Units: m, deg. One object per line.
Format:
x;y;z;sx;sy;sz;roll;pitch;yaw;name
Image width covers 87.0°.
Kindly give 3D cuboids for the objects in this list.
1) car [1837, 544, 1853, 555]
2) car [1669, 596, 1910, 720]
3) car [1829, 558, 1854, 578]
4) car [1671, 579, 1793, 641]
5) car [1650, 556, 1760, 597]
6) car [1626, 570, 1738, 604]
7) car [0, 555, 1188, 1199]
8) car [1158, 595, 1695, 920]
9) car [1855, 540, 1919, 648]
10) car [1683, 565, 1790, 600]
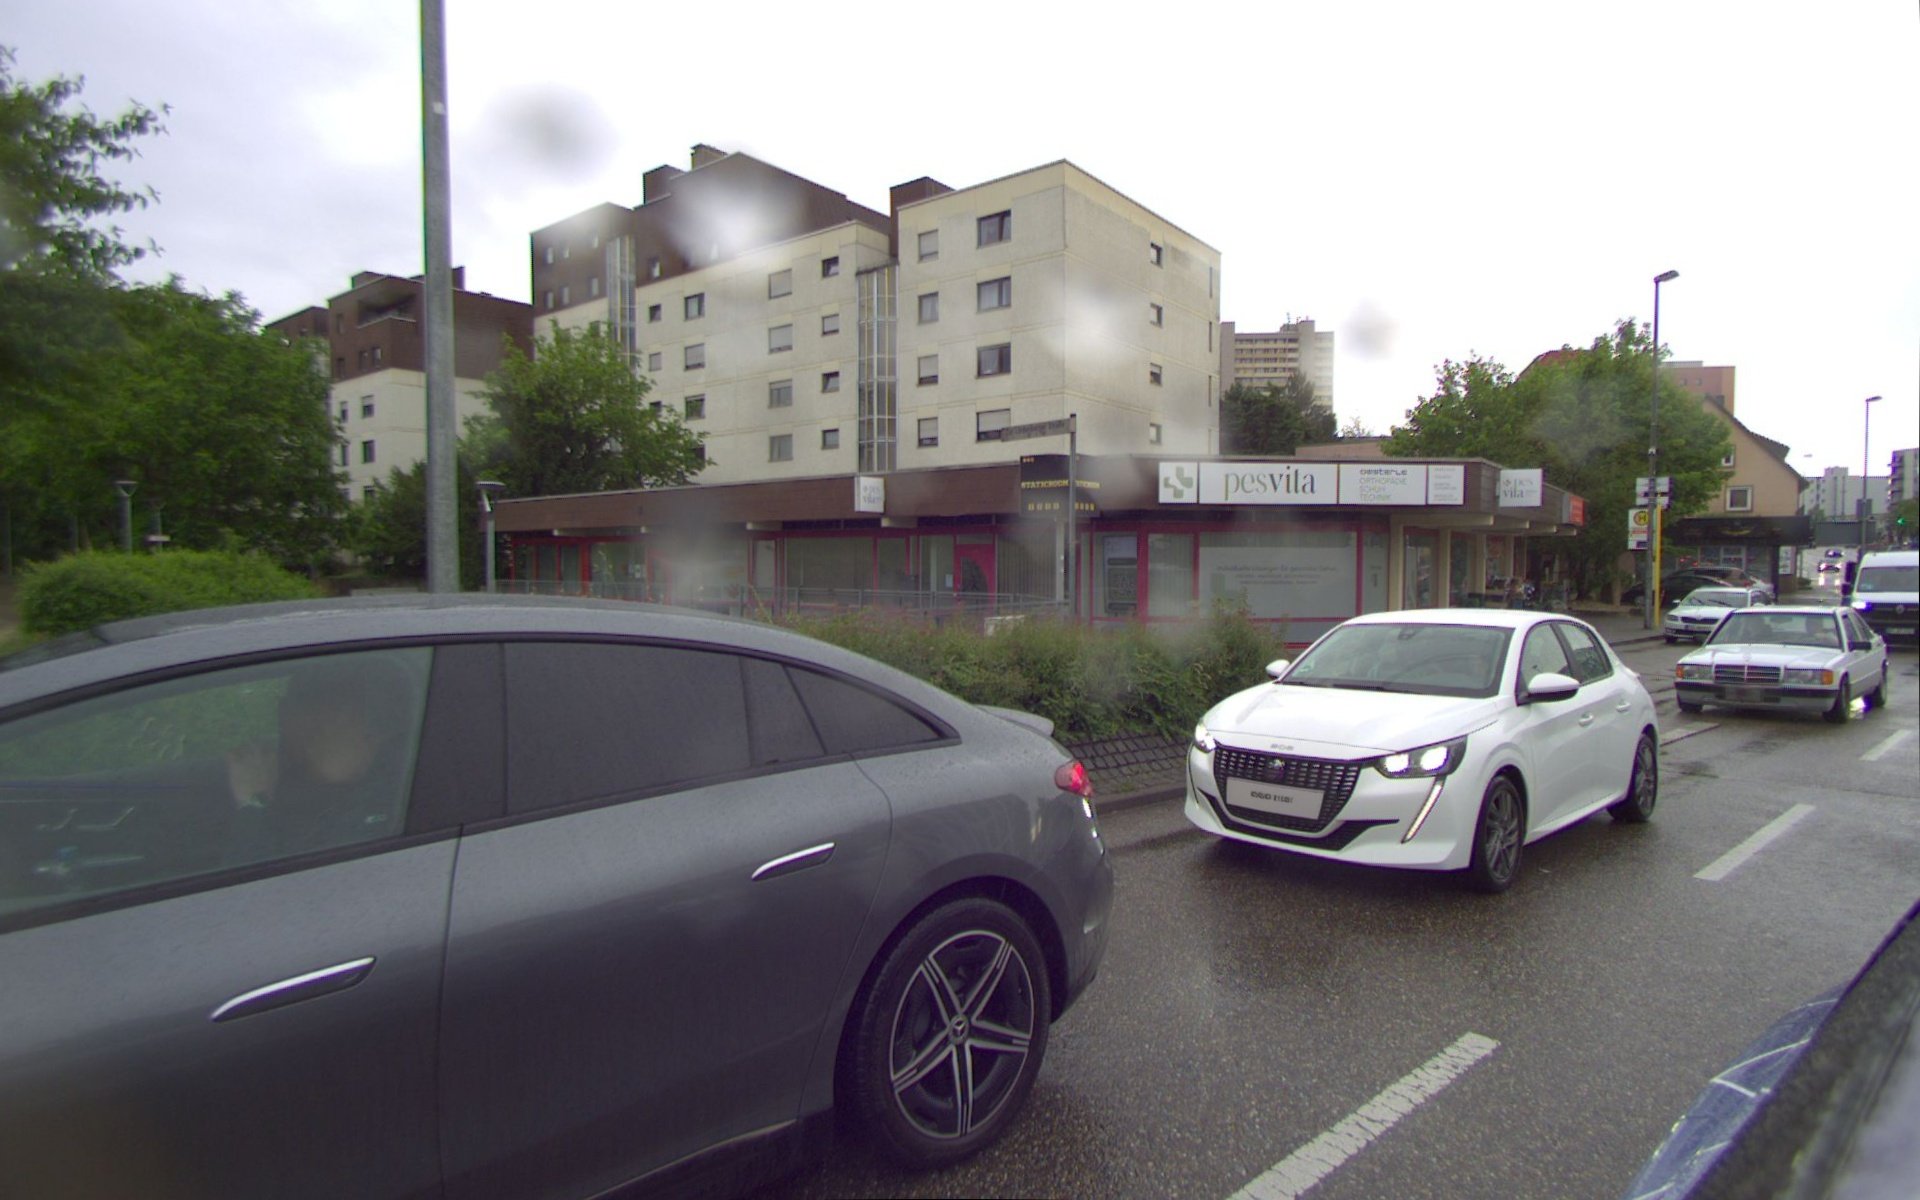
139.927;-7.942;160.062;1.657;1.654;3.754;1;1;37;car
11.065;0.643;13.407;4.089;1.362;1.787;-1;1;-41;car
95.123;-3.418;109.194;1.992;2.039;3.940;0;1;42;car
20.305;0.203;26.576;3.930;1.509;1.787;-1;1;-41;car
34.234;-1.087;46.559;3.981;1.801;1.858;2;2;39;car
32.182;-0.610;45.163;3.981;1.445;1.858;2;2;39;car
-1.626;0.685;2.419;4.724;1.485;1.840;0;-1;-41;car
3.209;0.708;6.560;4.043;1.433;1.665;-1;1;-41;car
24.836;-0.214;26.038;6.021;2.549;2.194;-2;2;-43;car
37.080;-0.845;48.378;3.981;1.614;1.857;2;0;39;car
